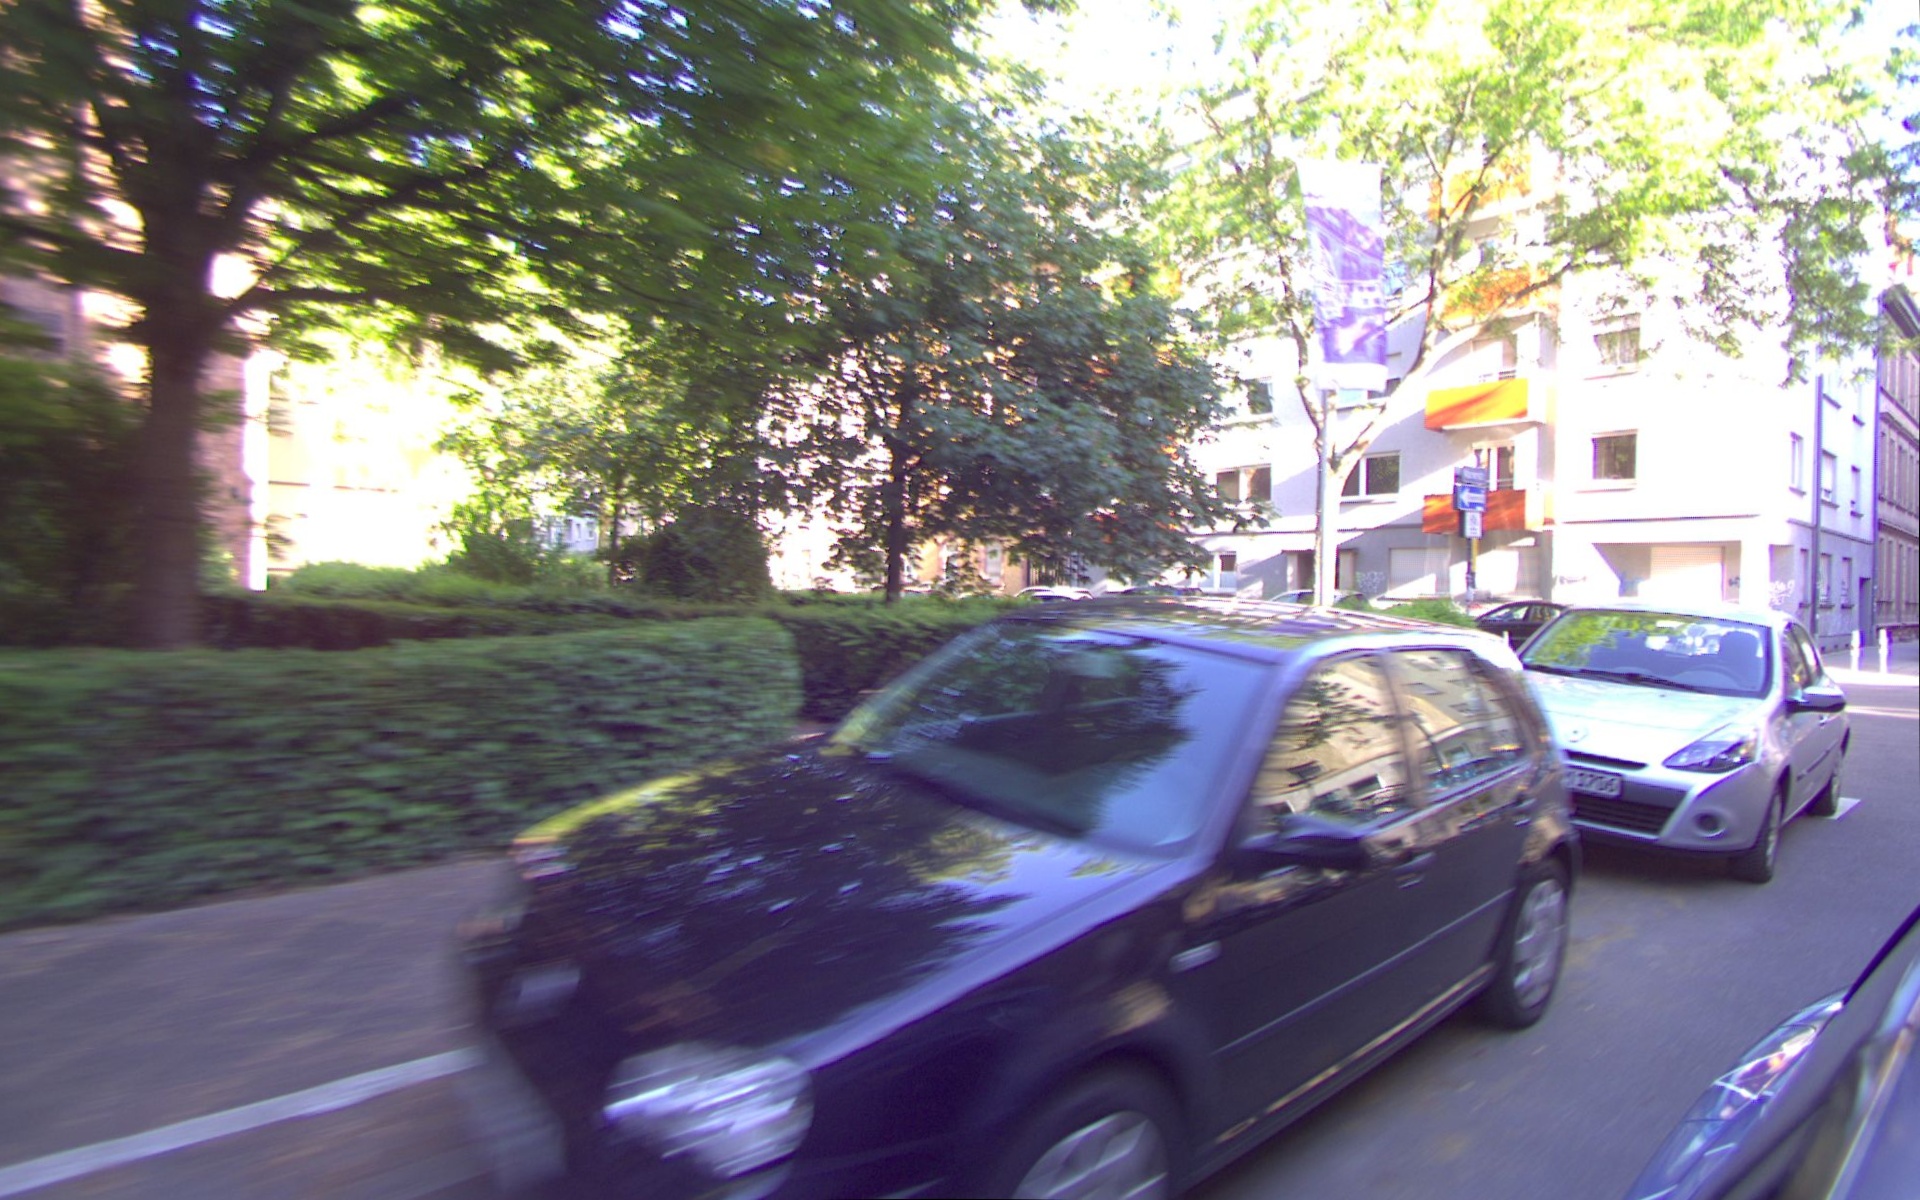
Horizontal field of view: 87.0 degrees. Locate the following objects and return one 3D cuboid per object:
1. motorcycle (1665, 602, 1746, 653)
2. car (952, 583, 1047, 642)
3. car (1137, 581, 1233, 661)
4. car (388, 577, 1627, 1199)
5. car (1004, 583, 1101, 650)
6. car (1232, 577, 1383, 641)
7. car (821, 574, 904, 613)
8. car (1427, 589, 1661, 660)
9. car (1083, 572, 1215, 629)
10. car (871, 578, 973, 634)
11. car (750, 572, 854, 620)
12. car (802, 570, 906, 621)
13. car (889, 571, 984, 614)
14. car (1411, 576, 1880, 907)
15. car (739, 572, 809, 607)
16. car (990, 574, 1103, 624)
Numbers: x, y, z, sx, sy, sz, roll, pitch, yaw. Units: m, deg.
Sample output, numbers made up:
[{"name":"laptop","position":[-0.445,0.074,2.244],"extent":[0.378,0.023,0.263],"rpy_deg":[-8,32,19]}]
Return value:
[{"name":"motorcycle","position":[17.851,0.645,24.244],"extent":[1.467,1.131,0.894],"rpy_deg":[2,1,43]},{"name":"car","position":[1.170,0.271,27.602],"extent":[1.756,1.449,4.397],"rpy_deg":[0,1,14]},{"name":"car","position":[4.769,0.353,21.267],"extent":[1.756,1.449,4.397],"rpy_deg":[0,1,14]},{"name":"car","position":[0.577,0.687,3.221],"extent":[3.935,1.454,1.624],"rpy_deg":[-1,3,-42]},{"name":"car","position":[2.376,0.332,25.006],"extent":[1.756,1.449,4.397],"rpy_deg":[0,1,14]},{"name":"car","position":[9.635,0.196,28.247],"extent":[1.622,1.577,3.692],"rpy_deg":[-3,3,-41]},{"name":"car","position":[-4.355,-0.322,44.673],"extent":[1.622,1.598,3.997],"rpy_deg":[-3,3,-41]},{"name":"car","position":[13.466,0.499,23.561],"extent":[1.751,1.449,4.409],"rpy_deg":[0,1,-41]},{"name":"car","position":[5.989,-0.042,32.391],"extent":[1.622,1.636,4.033],"rpy_deg":[-3,3,-41]},{"name":"car","position":[-0.990,0.107,28.890],"extent":[1.756,1.449,4.397],"rpy_deg":[0,1,14]},{"name":"car","position":[-4.998,-0.182,32.662],"extent":[1.756,1.449,4.397],"rpy_deg":[0,1,14]},{"name":"car","position":[-3.105,-0.180,30.676],"extent":[1.756,1.449,4.397],"rpy_deg":[0,1,14]},{"name":"car","position":[-0.990,-0.363,40.818],"extent":[1.622,1.598,3.997],"rpy_deg":[-3,3,-41]},{"name":"car","position":[4.720,0.644,6.760],"extent":[3.766,1.538,1.712],"rpy_deg":[-1,3,-42]},{"name":"car","position":[-9.360,-0.551,50.764],"extent":[1.622,1.598,3.997],"rpy_deg":[-3,3,-41]},{"name":"car","position":[3.031,-0.077,35.913],"extent":[1.622,1.598,3.997],"rpy_deg":[-3,3,-41]}]
